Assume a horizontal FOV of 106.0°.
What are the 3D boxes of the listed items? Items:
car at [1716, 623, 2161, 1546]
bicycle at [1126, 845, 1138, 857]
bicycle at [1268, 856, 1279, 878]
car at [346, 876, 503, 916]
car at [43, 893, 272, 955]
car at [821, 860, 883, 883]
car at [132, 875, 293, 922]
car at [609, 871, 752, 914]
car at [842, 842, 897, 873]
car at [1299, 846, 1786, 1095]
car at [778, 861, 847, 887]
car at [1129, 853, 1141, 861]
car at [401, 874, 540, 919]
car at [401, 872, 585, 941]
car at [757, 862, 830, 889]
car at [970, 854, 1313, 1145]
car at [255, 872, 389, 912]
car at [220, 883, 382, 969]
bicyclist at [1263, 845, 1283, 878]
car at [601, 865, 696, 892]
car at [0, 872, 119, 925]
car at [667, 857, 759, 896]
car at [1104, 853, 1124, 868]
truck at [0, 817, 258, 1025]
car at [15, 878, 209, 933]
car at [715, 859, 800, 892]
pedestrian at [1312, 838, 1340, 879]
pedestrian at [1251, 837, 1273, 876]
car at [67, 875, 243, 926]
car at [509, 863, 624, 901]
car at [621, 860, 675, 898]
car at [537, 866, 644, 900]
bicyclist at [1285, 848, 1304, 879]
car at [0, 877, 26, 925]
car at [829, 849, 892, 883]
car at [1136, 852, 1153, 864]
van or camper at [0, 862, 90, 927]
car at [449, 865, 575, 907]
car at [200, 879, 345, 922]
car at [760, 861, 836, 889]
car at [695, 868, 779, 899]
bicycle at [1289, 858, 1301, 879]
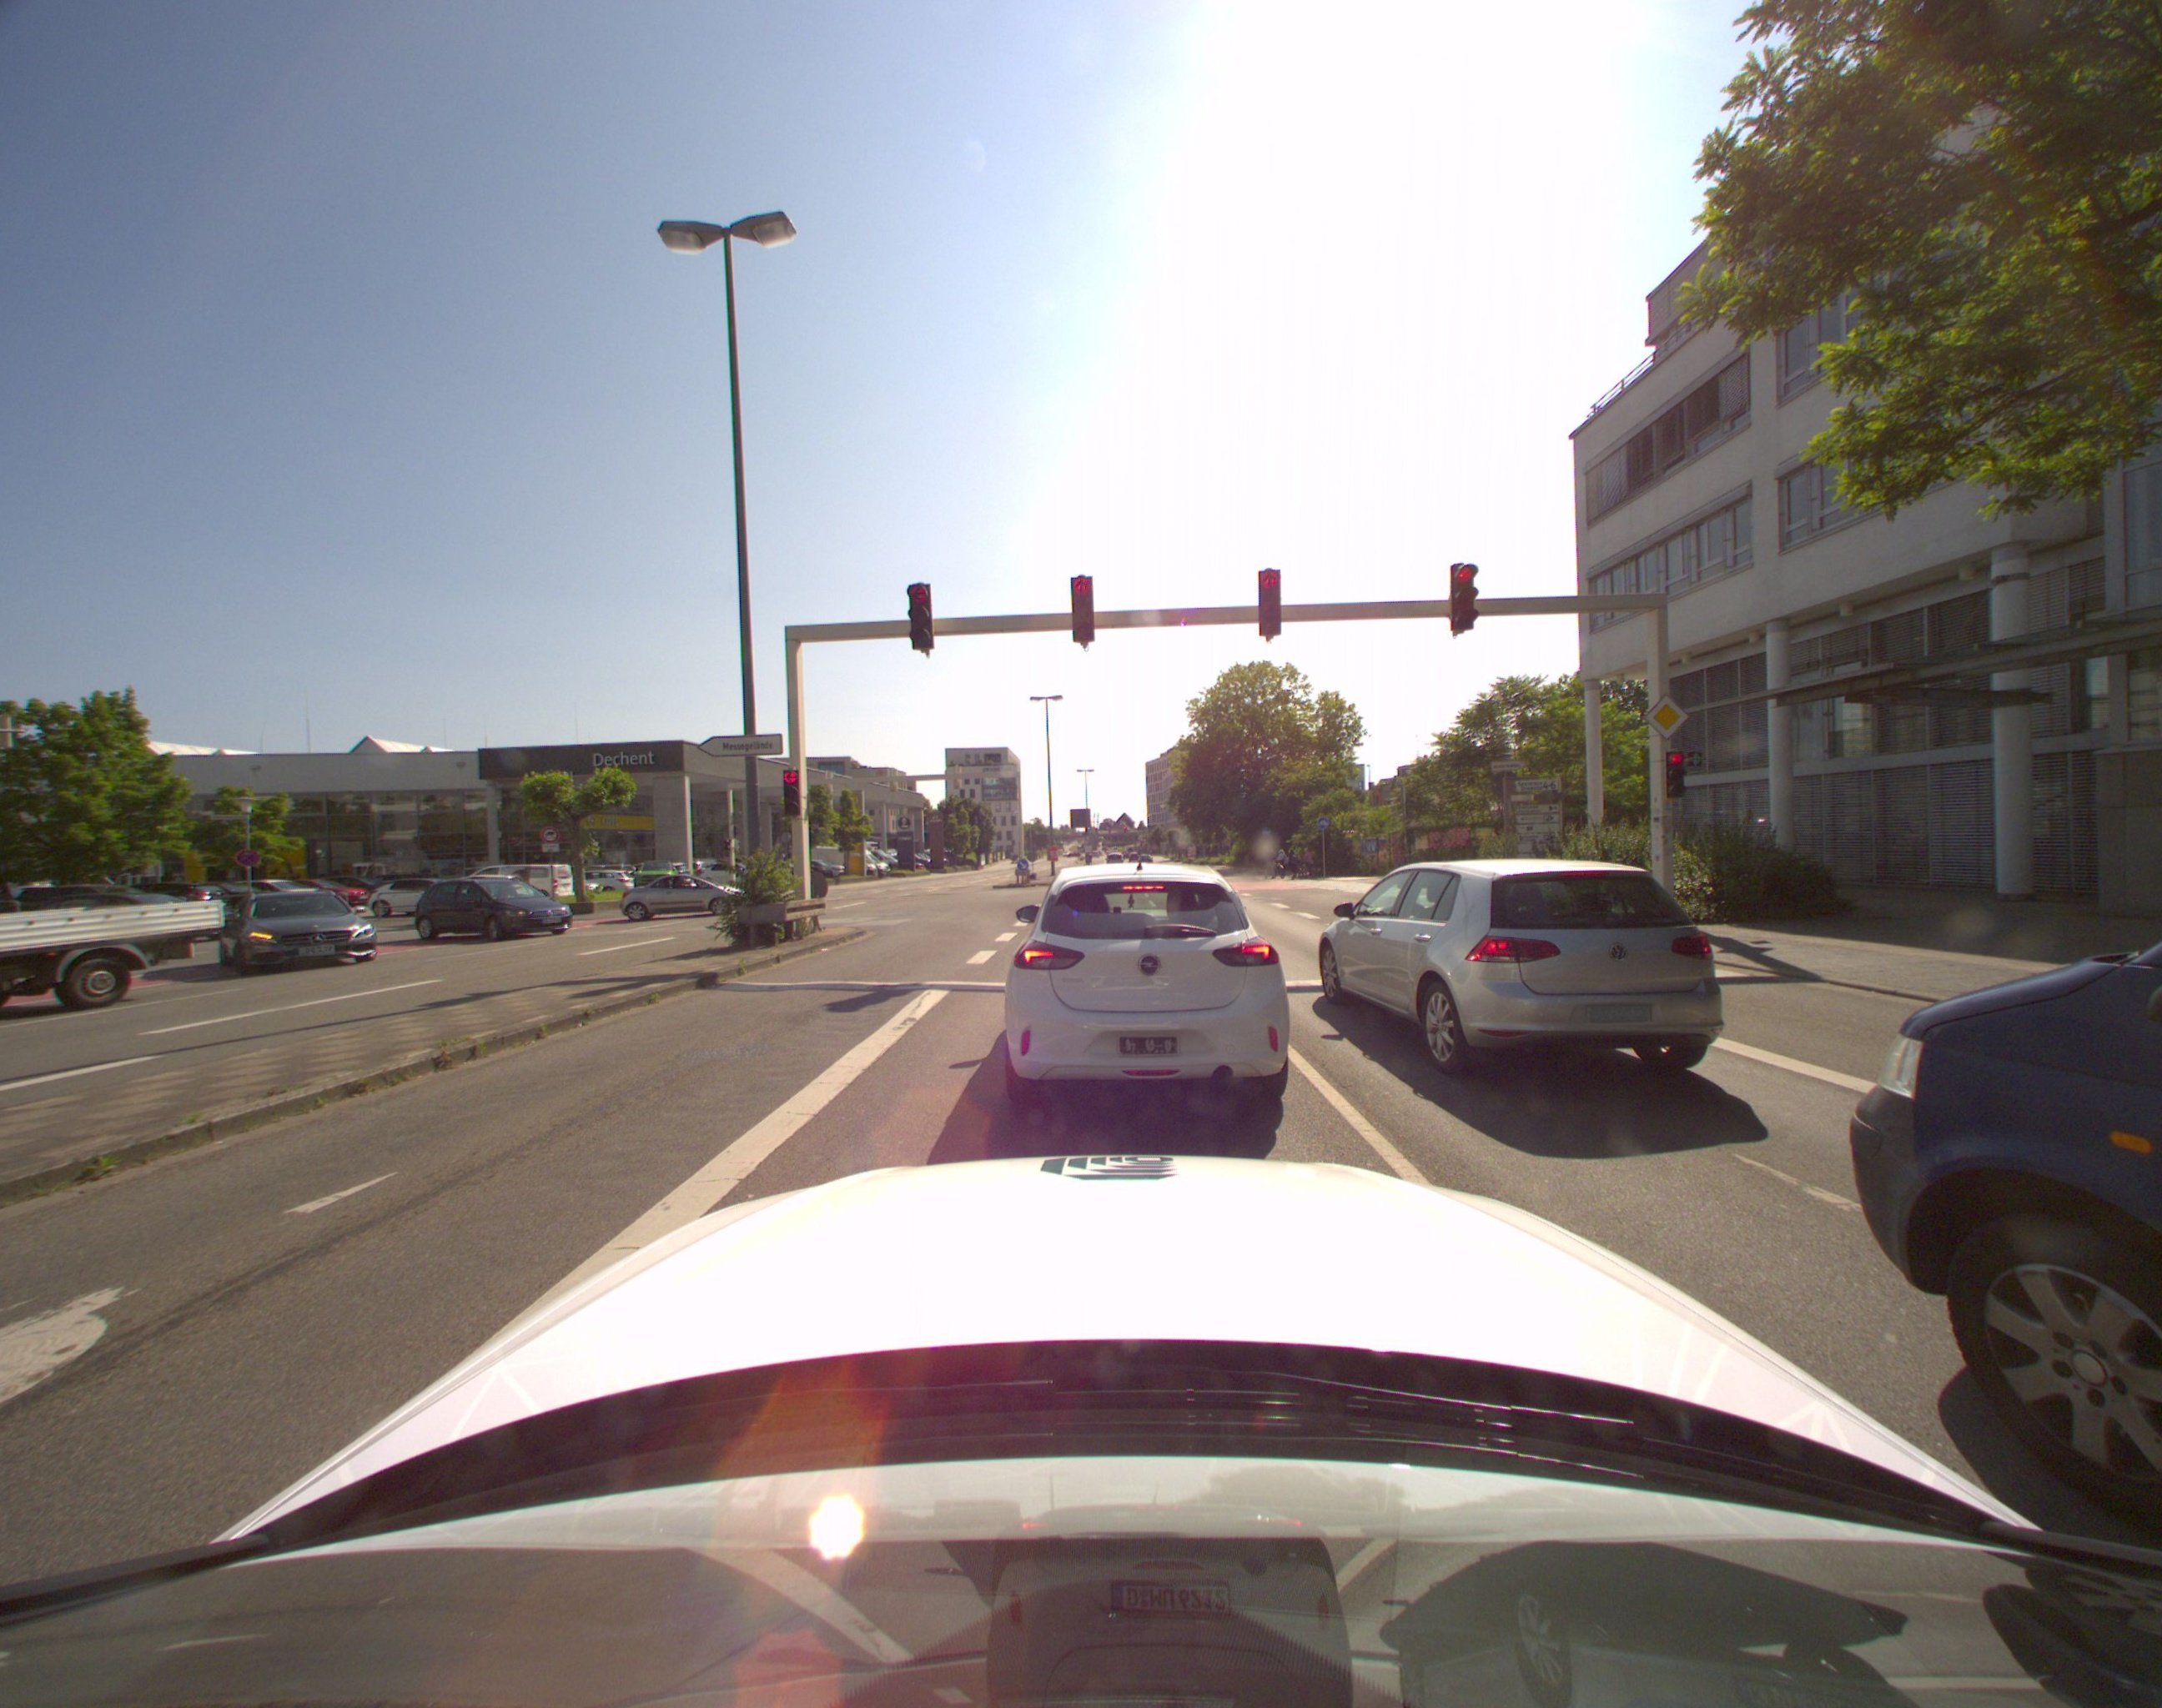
[{"bbox_3d":[3.221,0.453,0.440,1.986,1.948,4.892,-2,-1,2],"label":"car"},{"bbox_3d":[9.753,-0.573,155.448,1.986,2.157,4.001,-2,0,1],"label":"bicycle"},{"bbox_3d":[10.755,0.699,45.441,0.371,1.216,1.154,0,0,2],"label":"bicycle"},{"bbox_3d":[-25.541,1.629,31.836,4.348,1.300,1.997,-2,0,-4],"label":"car"},{"bbox_3d":[-26.139,1.953,23.188,3.979,1.442,1.997,-2,0,-4],"label":"car"},{"bbox_3d":[-18.506,1.396,65.877,4.333,1.696,2.004,-2,0,7],"label":"car"},{"bbox_3d":[-36.383,1.830,34.217,4.348,1.696,1.997,-2,0,-4],"label":"car"},{"bbox_3d":[-13.331,1.250,27.386,3.995,1.331,1.989,0,-1,-16],"label":"car"},{"bbox_3d":[-19.098,0.336,73.664,4.334,2.601,2.004,-2,0,6],"label":"car"},{"bbox_3d":[3.312,0.717,6.893,1.802,1.429,3.998,-2,-1,-1],"label":"car"},{"bbox_3d":[-19.788,1.439,60.129,4.344,1.696,1.999,-2,0,-1],"label":"car"},{"bbox_3d":[8.888,0.511,133.839,1.799,1.386,4.001,0,-1,2],"label":"car"},{"bbox_3d":[-26.241,1.805,35.154,4.348,1.696,1.997,-2,0,-4],"label":"car"},{"bbox_3d":[-15.426,1.351,21.399,4.086,1.617,1.901,-2,0,20],"label":"car"},{"bbox_3d":[-20.053,1.490,56.933,4.344,1.696,1.999,-2,0,-1],"label":"car"},{"bbox_3d":[0.378,0.777,6.327,1.773,1.494,4.001,-2,0,1],"label":"car"},{"bbox_3d":[-36.620,1.804,39.389,4.352,1.696,1.995,-2,0,-7],"label":"car"},{"bbox_3d":[-15.381,1.304,15.996,3.949,1.360,1.917,0,-1,41],"label":"car"},{"bbox_3d":[10.730,0.422,45.455,0.876,1.772,0.864,-2,0,1],"label":"bicyclist"},{"bbox_3d":[-24.704,1.413,46.655,4.352,1.268,1.995,-3,-2,-7],"label":"car"},{"bbox_3d":[-43.163,1.842,33.673,3.984,2.013,1.995,-2,0,-8],"label":"car"},{"bbox_3d":[-19.258,1.170,42.754,3.859,1.837,1.999,-2,0,-1],"label":"car"},{"bbox_3d":[3.191,0.647,79.726,1.800,1.386,3.999,0,-1,0],"label":"car"},{"bbox_3d":[-14.464,0.858,9.735,2.346,2.545,6.445,-2,0,4],"label":"truck"},{"bbox_3d":[-34.916,1.828,29.468,4.348,1.696,1.997,-2,0,-4],"label":"car"},{"bbox_3d":[-19.623,1.293,49.558,4.284,1.765,1.999,-2,0,-1],"label":"car"},{"bbox_3d":[12.420,0.235,41.312,1.023,2.013,1.039,-2,0,1],"label":"pedestrian"},{"bbox_3d":[10.843,0.157,48.762,1.023,2.238,1.039,-2,0,1],"label":"pedestrian"},{"bbox_3d":[-36.234,1.789,31.966,4.348,1.696,1.997,-2,0,-4],"label":"car"},{"bbox_3d":[-25.642,1.378,40.739,4.353,1.696,1.995,-2,0,-7],"label":"car"},{"bbox_3d":[-21.253,1.252,39.932,1.915,1.733,3.258,-2,-1,-35],"label":"car"},{"bbox_3d":[-26.158,1.531,43.560,4.352,1.591,1.996,-2,0,-7],"label":"car"},{"bbox_3d":[11.437,0.523,43.691,0.687,1.643,0.775,-2,0,-7],"label":"bicyclist"},{"bbox_3d":[-40.605,1.755,28.307,4.371,1.696,1.987,-2,0,-20],"label":"car"},{"bbox_3d":[-18.473,1.000,68.329,4.469,2.684,2.134,-2,0,10],"label":"car"},{"bbox_3d":[7.517,0.502,96.367,1.799,1.386,4.001,0,-1,2],"label":"car"},{"bbox_3d":[-41.947,1.591,31.315,4.711,2.400,1.995,-2,0,-8],"label":"van or camper"},{"bbox_3d":[-26.531,1.471,38.127,4.353,1.696,1.995,-2,0,-7],"label":"car"},{"bbox_3d":[-36.636,2.084,36.989,4.348,1.696,1.997,-2,0,-4],"label":"car"},{"bbox_3d":[-18.983,1.401,54.684,4.343,1.696,1.999,-2,0,-1],"label":"car"},{"bbox_3d":[-19.754,1.683,46.894,3.981,1.599,1.996,-2,0,-6],"label":"car"},{"bbox_3d":[11.478,0.780,43.650,0.372,1.147,1.034,0,-1,0],"label":"bicycle"}]
